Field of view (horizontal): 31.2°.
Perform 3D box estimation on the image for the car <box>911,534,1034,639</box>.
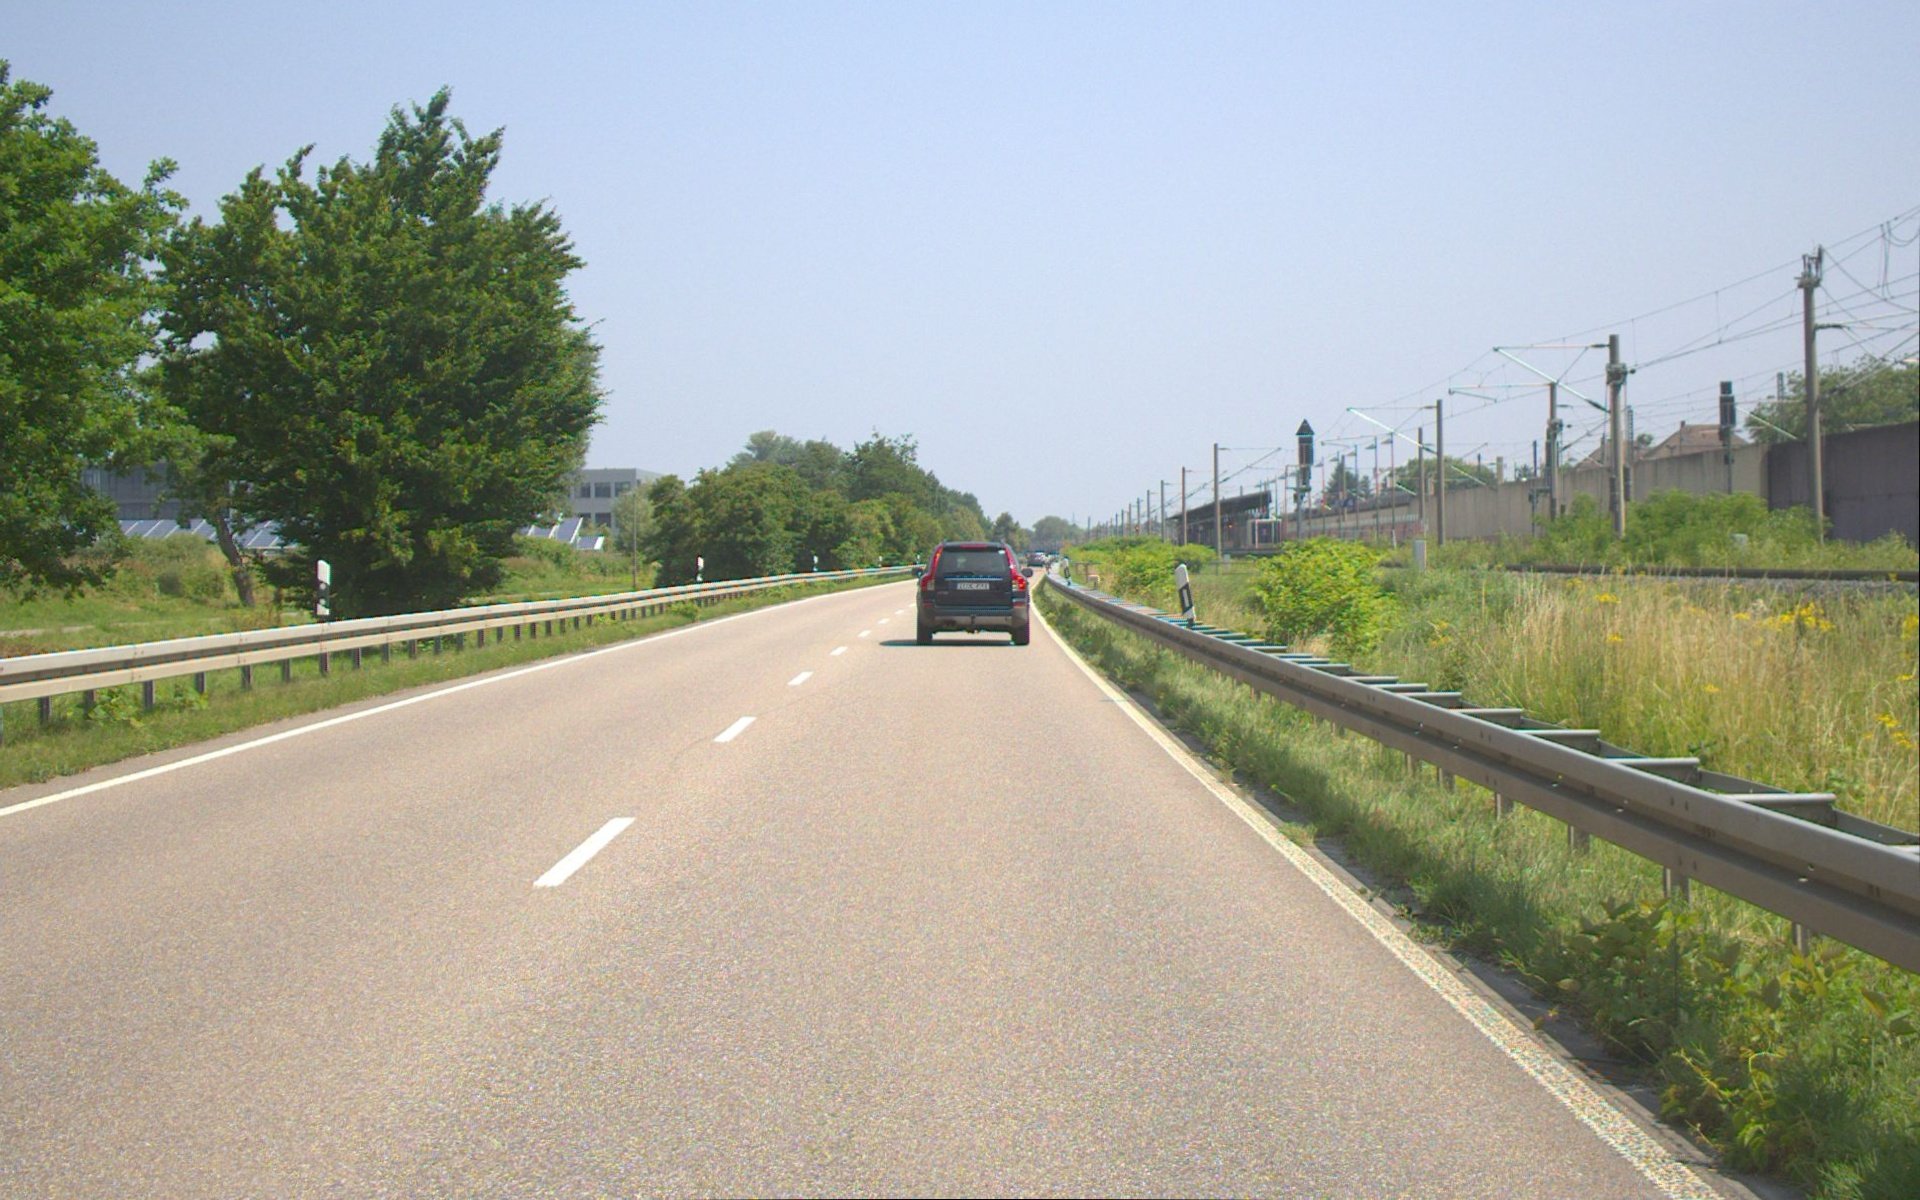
[{"bbox_3d":[0.178,-0.242,57.886,1.993,1.694,4.000,0,1,-1],"label":"car"}]
